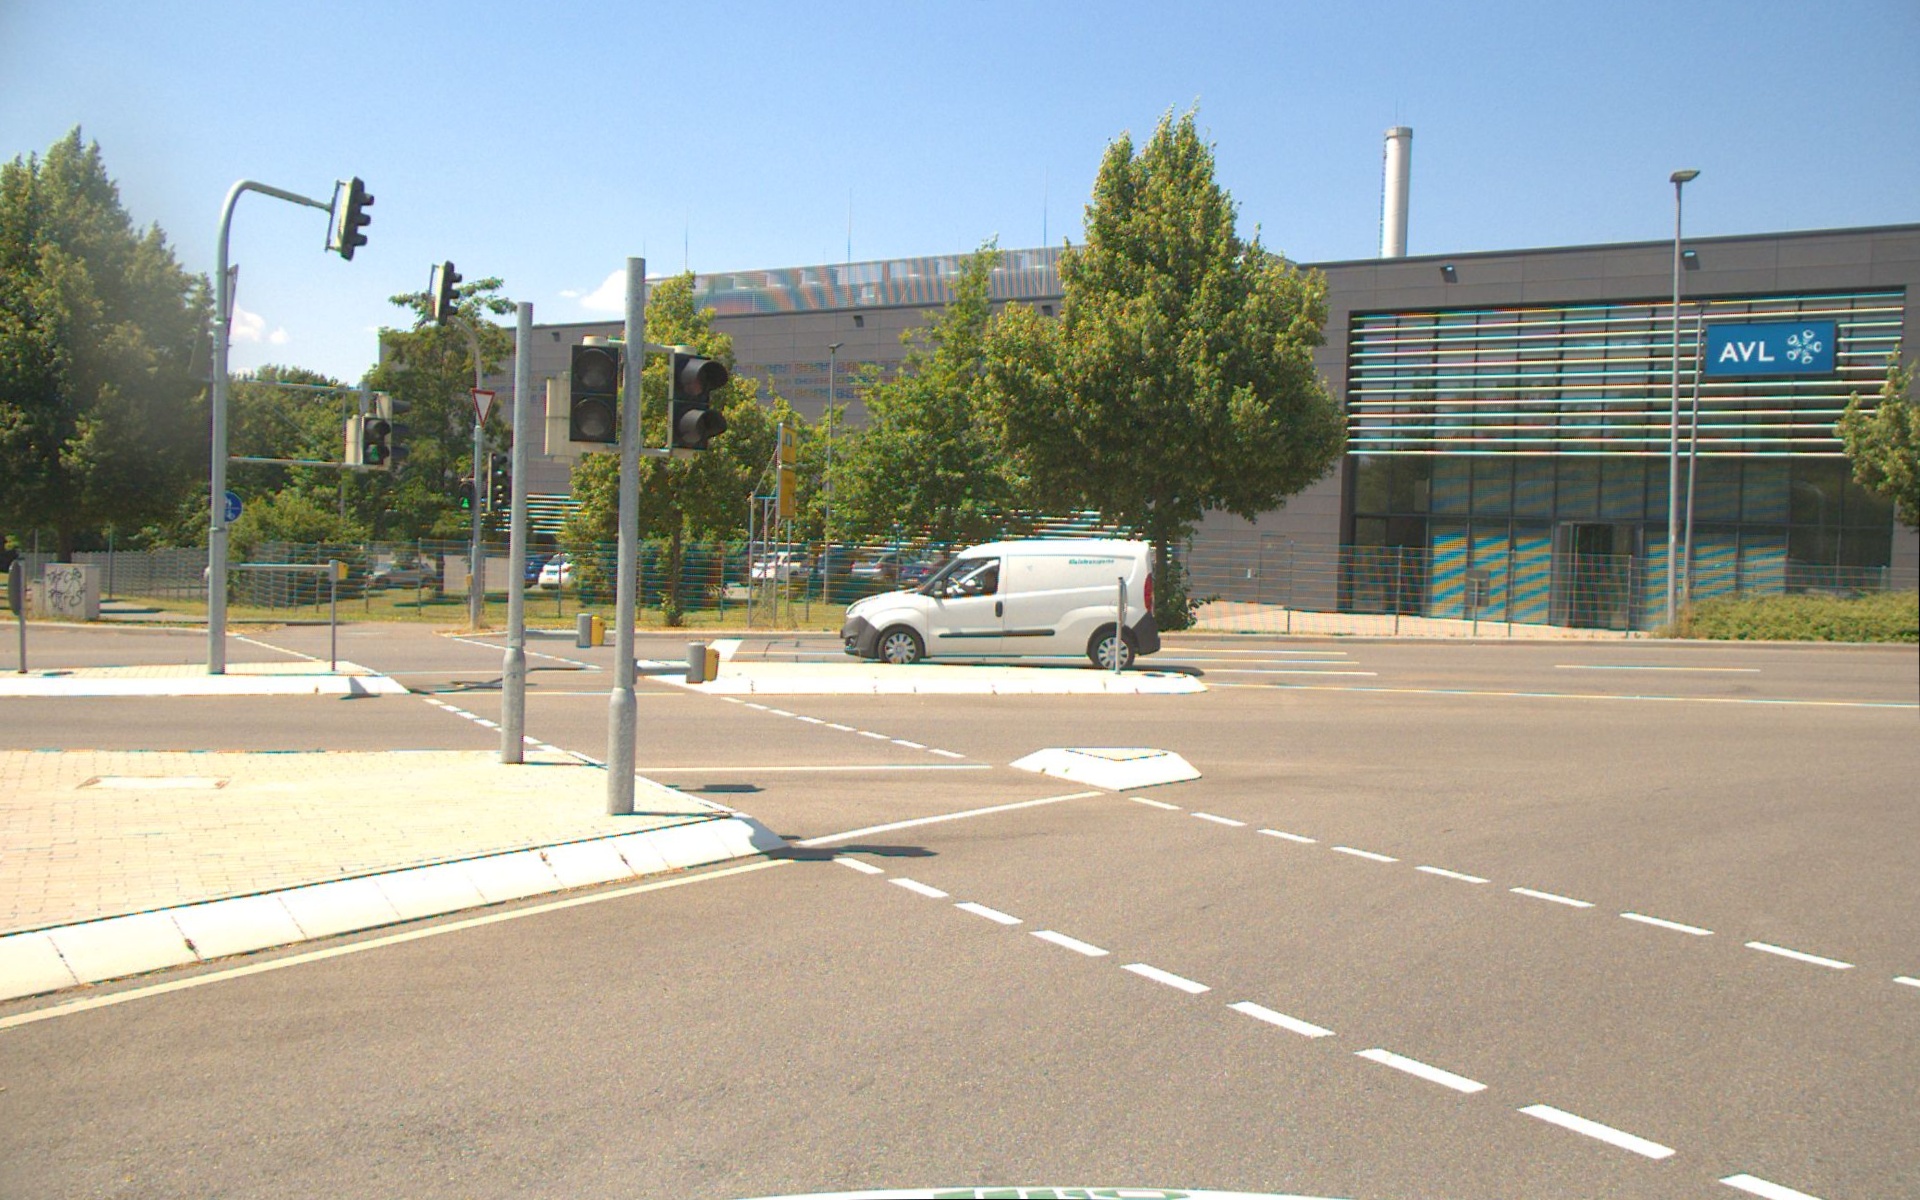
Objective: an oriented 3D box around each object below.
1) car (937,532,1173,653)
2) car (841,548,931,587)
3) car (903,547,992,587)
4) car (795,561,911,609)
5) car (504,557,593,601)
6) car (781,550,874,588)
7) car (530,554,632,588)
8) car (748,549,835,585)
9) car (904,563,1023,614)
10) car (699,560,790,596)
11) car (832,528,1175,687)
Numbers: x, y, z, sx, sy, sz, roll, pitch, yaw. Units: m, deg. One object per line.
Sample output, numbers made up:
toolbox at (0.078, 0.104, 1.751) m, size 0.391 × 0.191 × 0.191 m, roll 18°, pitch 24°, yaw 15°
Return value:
car at (1.564, -0.153, 27.892) m, size 3.772 × 1.735 × 2.002 m, roll 2°, pitch 5°, yaw 1°
car at (-3.014, -1.340, 68.166) m, size 1.878 × 1.543 × 3.992 m, roll 0°, pitch 1°, yaw 30°
car at (-0.469, -1.295, 66.414) m, size 1.780 × 1.555 × 3.992 m, roll 0°, pitch 0°, yaw 30°
car at (-3.489, -0.476, 54.536) m, size 1.956 × 1.512 × 3.992 m, roll 0°, pitch 0°, yaw 30°
car at (-19.803, -0.978, 79.684) m, size 1.956 × 2.049 × 3.992 m, roll 0°, pitch 0°, yaw 30°
car at (-5.536, -1.289, 69.390) m, size 1.956 × 1.512 × 3.992 m, roll 0°, pitch 0°, yaw 30°
car at (-13.780, -1.052, 60.292) m, size 1.580 × 1.185 × 3.627 m, roll 0°, pitch 0°, yaw 30°
car at (-7.225, -1.400, 71.164) m, size 1.733 × 1.485 × 3.992 m, roll 0°, pitch 0°, yaw 30°
car at (0.138, -0.342, 51.246) m, size 1.956 × 1.512 × 3.992 m, roll 0°, pitch 0°, yaw 30°
car at (-9.436, -0.955, 72.629) m, size 1.956 × 1.512 × 3.992 m, roll 0°, pitch 0°, yaw 30°
car at (0.628, 0.059, 24.207) m, size 4.755 × 1.975 × 2.002 m, roll 2°, pitch 5°, yaw 1°
